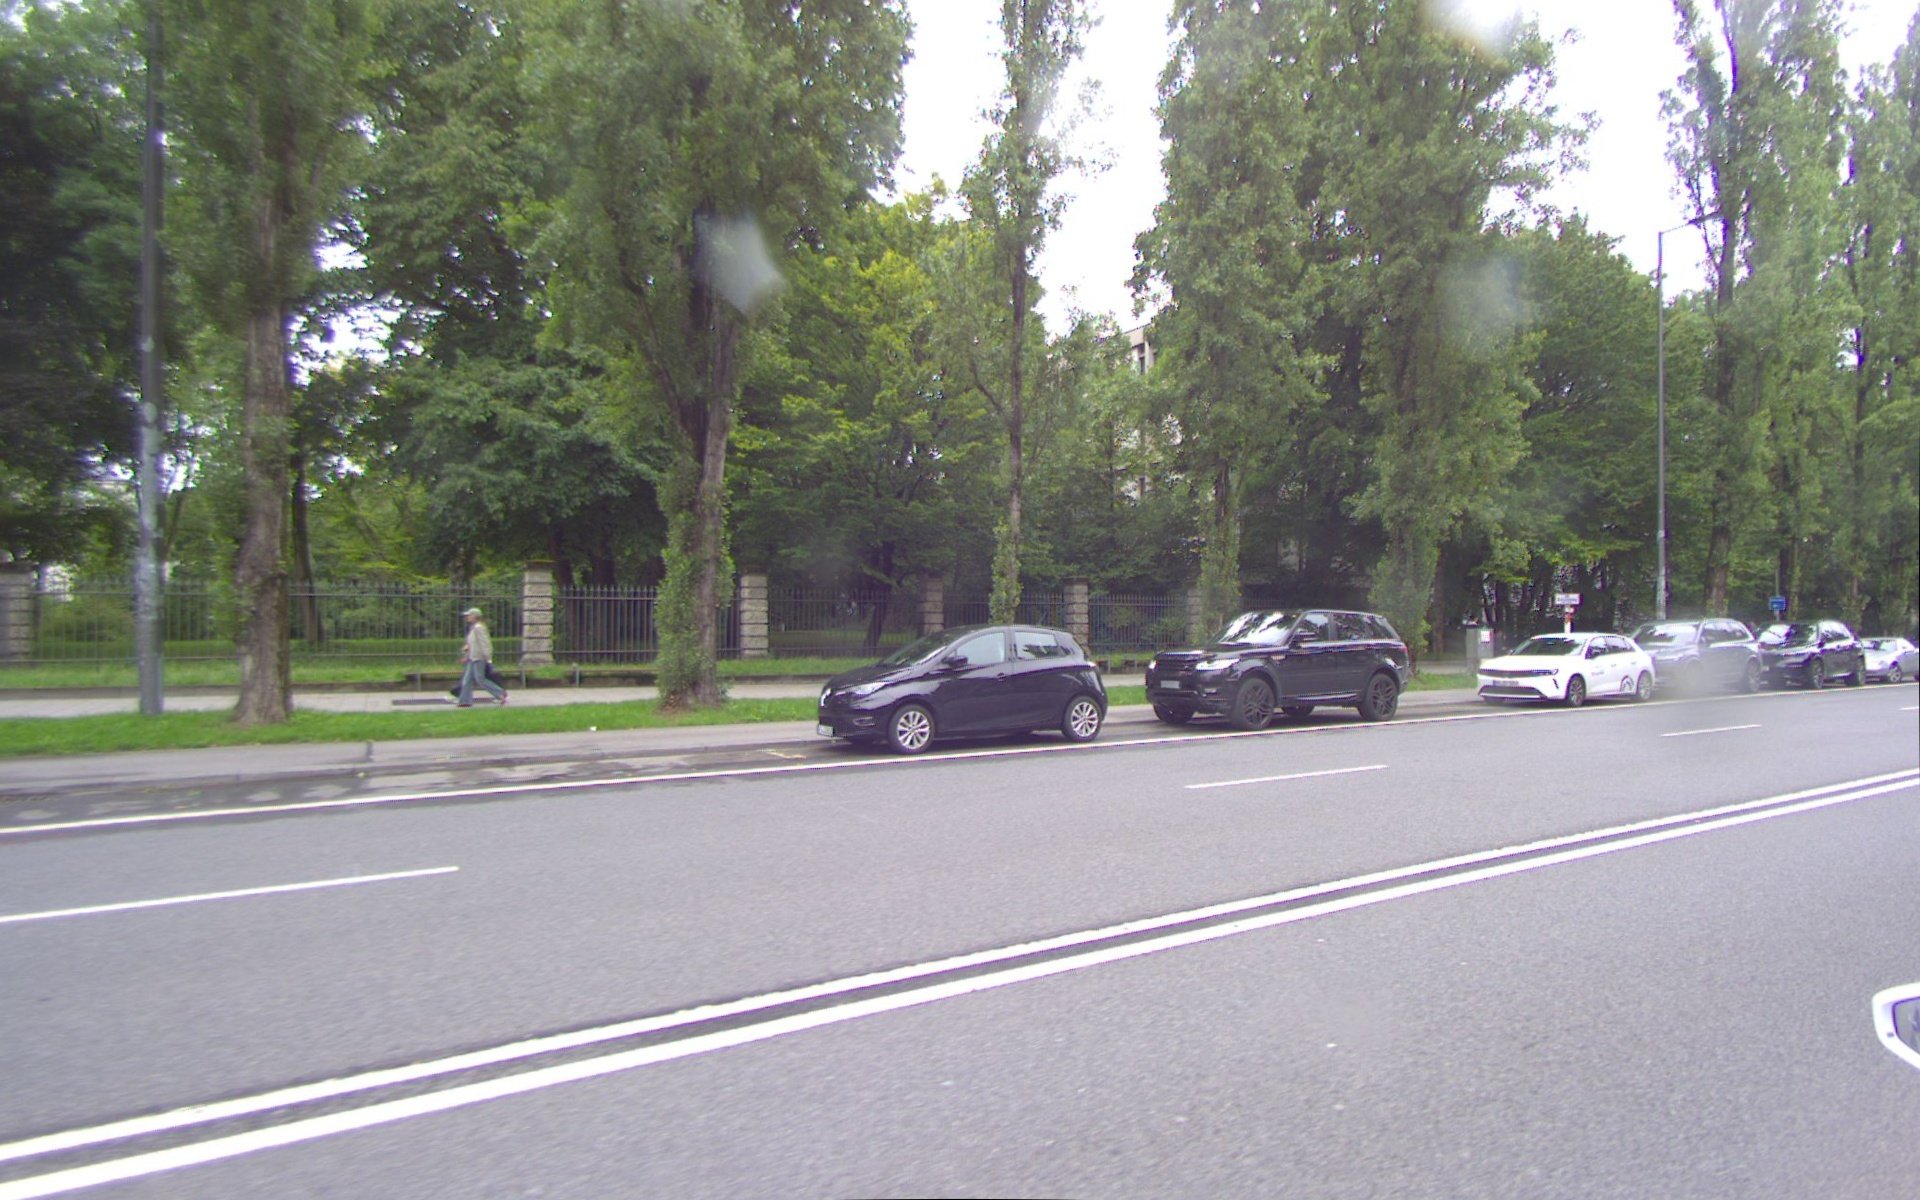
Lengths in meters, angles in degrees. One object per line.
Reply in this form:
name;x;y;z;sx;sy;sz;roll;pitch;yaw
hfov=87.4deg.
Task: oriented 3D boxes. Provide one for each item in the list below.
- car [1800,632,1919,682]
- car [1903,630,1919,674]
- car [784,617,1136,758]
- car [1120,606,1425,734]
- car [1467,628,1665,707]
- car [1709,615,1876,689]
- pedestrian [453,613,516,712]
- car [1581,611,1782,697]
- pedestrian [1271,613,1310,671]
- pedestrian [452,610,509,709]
car;26.537;1.641;29.325;4.185;1.351;1.818;1;-3;-31
car;33.801;1.729;33.953;4.187;1.471;1.761;1;-3;-32
car;0.038;1.070;13.401;4.337;1.604;1.936;1;-3;-30
car;5.118;1.075;16.318;4.742;1.810;2.037;1;-3;-30
car;12.485;1.336;20.645;4.224;1.478;1.696;1;-3;-31
car;21.914;1.349;26.408;4.841;1.790;1.931;1;-3;-32
pedestrian;-7.797;1.002;16.461;0.866;1.569;0.714;1;-1;-32
car;16.910;1.238;23.477;5.121;1.813;1.900;1;-4;-31
pedestrian;10.155;1.279;30.866;0.946;1.764;0.663;1;-1;-30
pedestrian;-8.168;0.993;17.097;0.804;1.626;0.714;1;-1;-32
